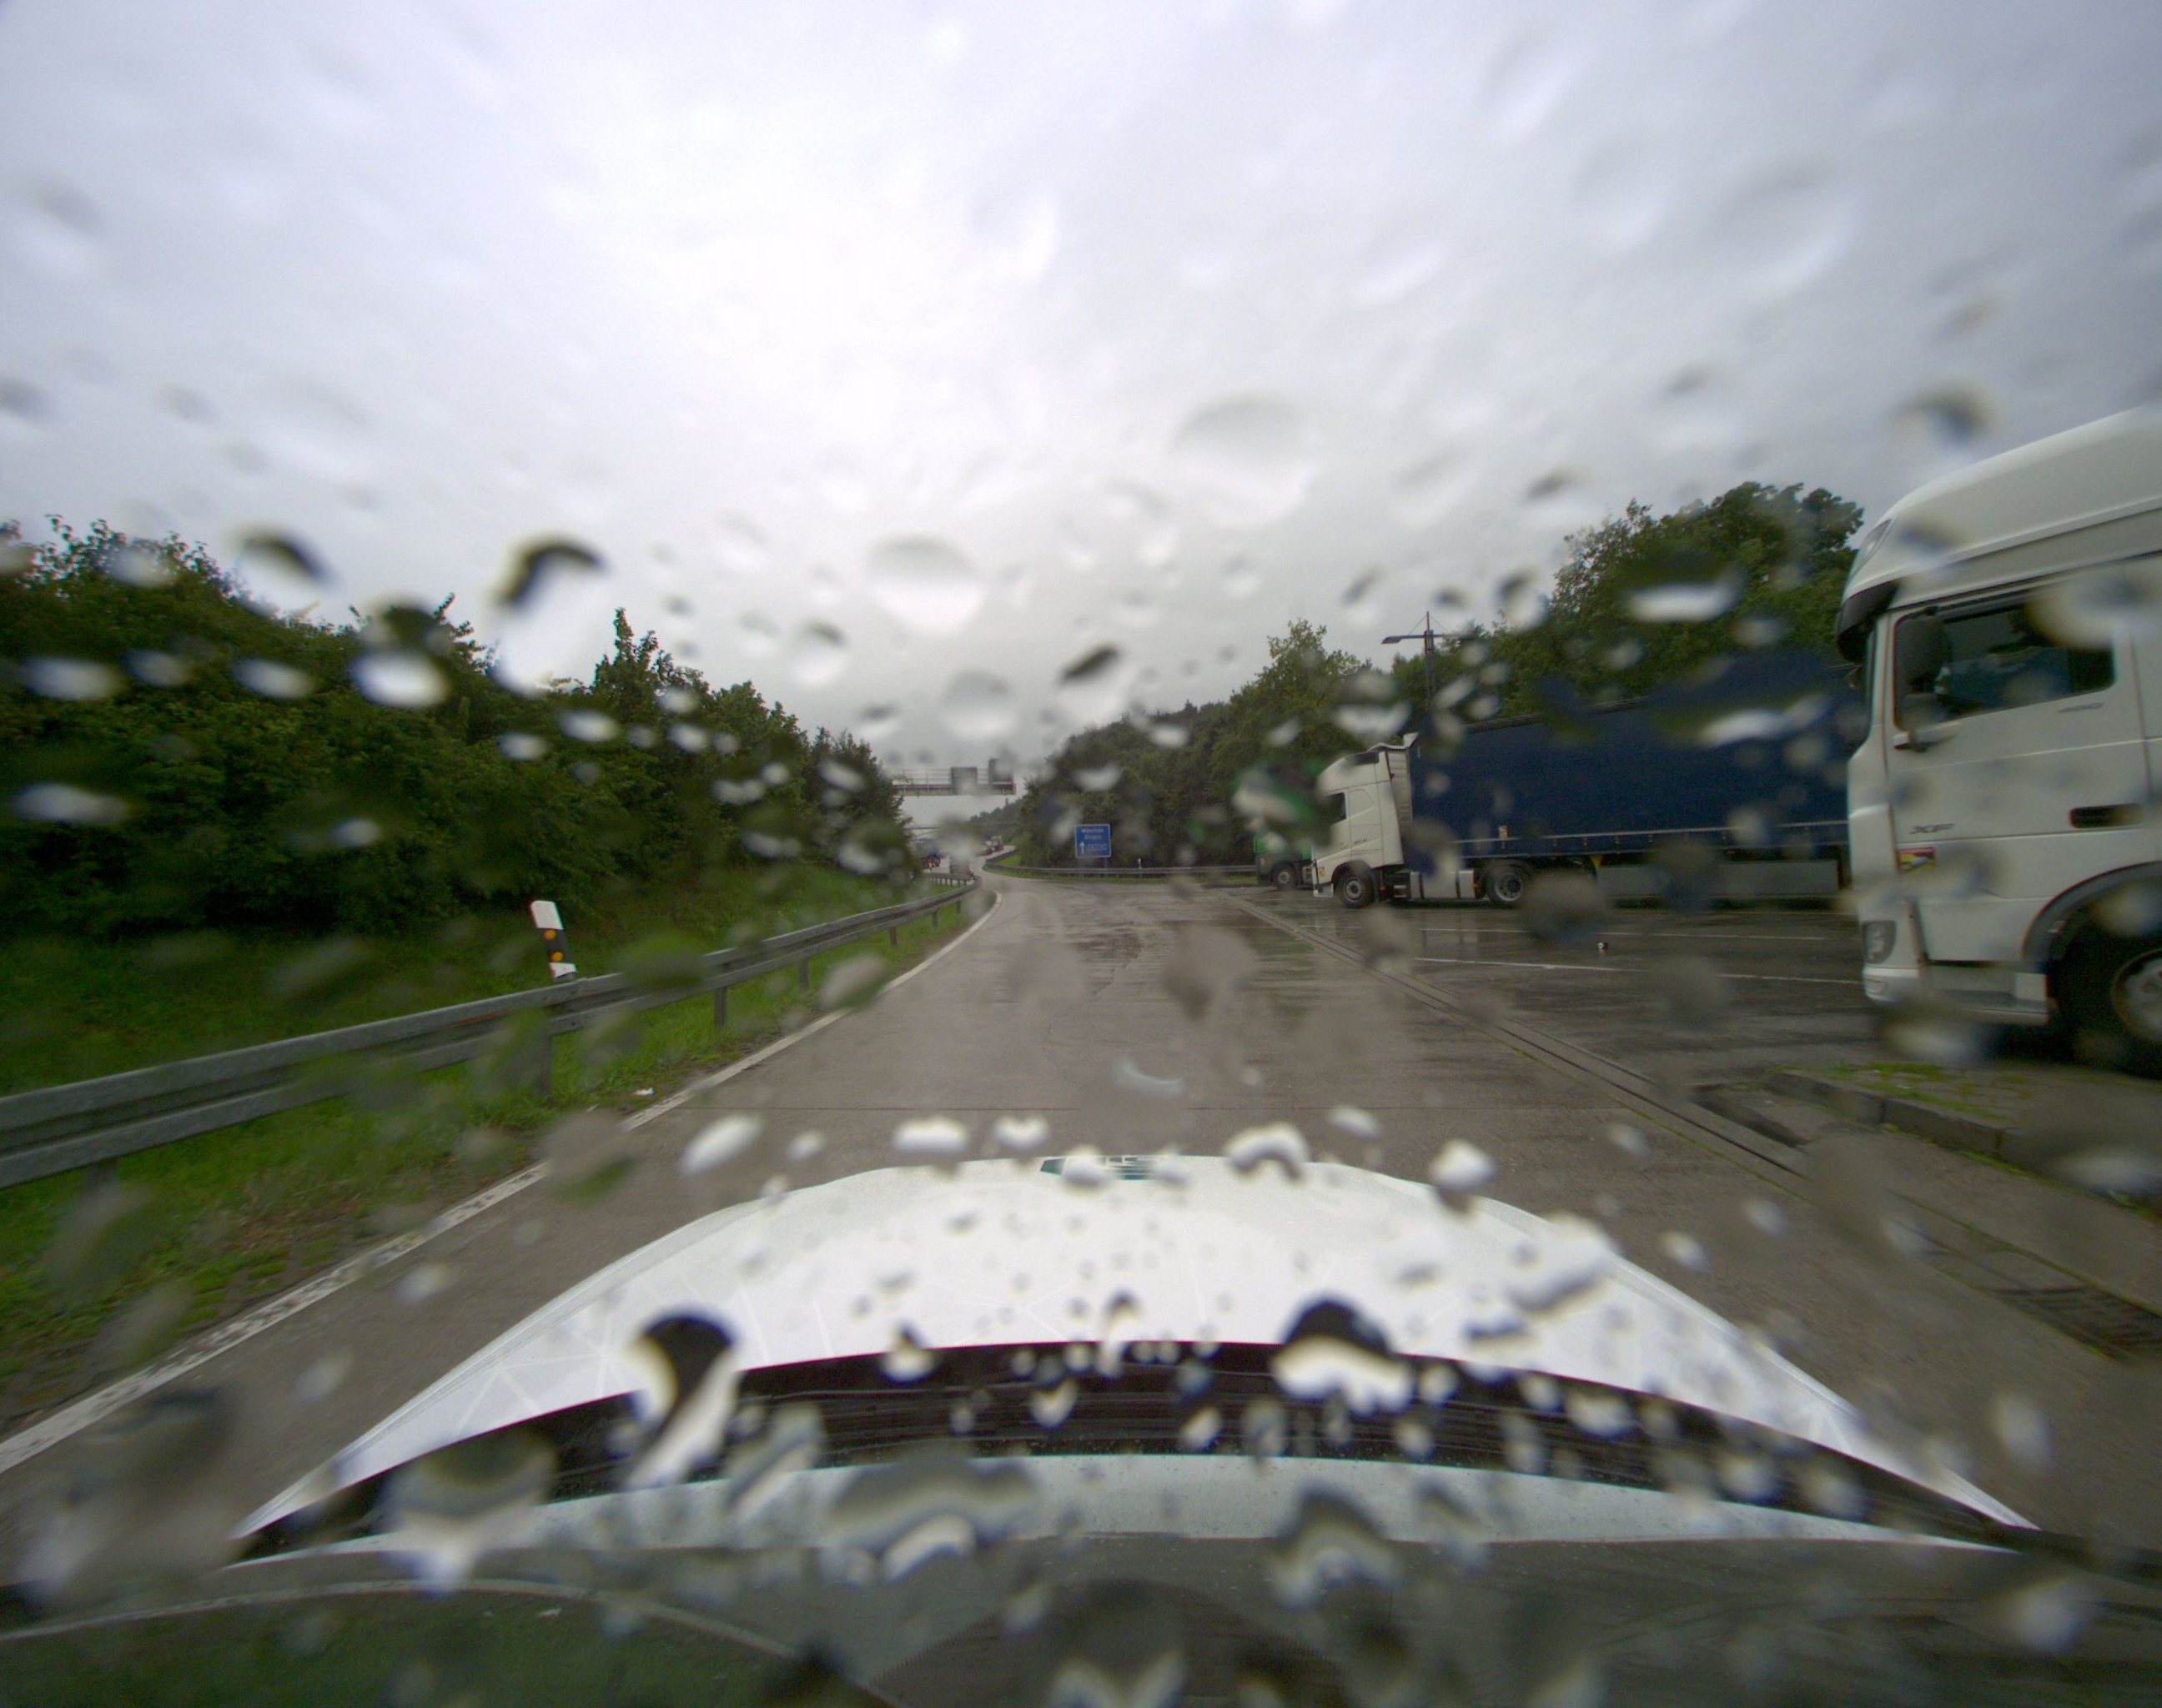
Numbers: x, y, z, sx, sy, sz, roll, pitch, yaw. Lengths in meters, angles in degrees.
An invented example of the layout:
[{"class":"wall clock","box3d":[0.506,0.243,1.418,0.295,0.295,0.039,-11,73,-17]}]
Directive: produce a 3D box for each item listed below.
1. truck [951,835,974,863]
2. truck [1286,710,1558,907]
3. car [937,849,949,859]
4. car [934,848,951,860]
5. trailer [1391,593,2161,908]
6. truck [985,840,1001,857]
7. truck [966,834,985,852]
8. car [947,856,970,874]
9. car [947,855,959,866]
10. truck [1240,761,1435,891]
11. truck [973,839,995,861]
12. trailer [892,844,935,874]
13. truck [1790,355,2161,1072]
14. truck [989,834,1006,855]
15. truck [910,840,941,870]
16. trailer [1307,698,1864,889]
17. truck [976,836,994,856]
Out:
[{"class":"truck","box3d":[-24.461,-0.942,168.596,3.745,5.499,10.164,0,-1,-2]},{"class":"truck","box3d":[8.203,-0.888,19.995,2.842,4.145,5.239,-3,-1,-41]},{"class":"car","box3d":[-27.086,0.009,159.842,1.793,1.903,3.997,-3,0,-2]},{"class":"car","box3d":[-34.151,0.050,201.116,3.238,3.002,6.767,0,-1,-2]},{"class":"trailer","box3d":[12.917,-1.247,14.602,2.842,4.171,13.826,-3,-1,-41]},{"class":"truck","box3d":[-22.407,-1.359,207.143,3.748,3.970,11.041,0,-1,-4]},{"class":"truck","box3d":[-26.525,-2.731,204.770,3.567,4.095,10.870,-3,0,-2]},{"class":"car","box3d":[-11.382,1.030,75.289,1.994,1.636,3.985,0,-1,-11]},{"class":"car","box3d":[-23.496,1.236,149.915,1.794,1.904,3.995,0,-1,-3]},{"class":"truck","box3d":[9.166,-0.873,29.569,2.843,4.149,5.924,-3,-1,-43]},{"class":"truck","box3d":[-19.853,-0.853,166.653,3.593,4.104,11.545,-4,1,-4]},{"class":"trailer","box3d":[-20.502,0.499,100.303,2.864,3.288,10.080,-3,1,1]},{"class":"truck","box3d":[7.773,-0.854,4.522,2.847,3.912,5.345,-3,0,-42]},{"class":"truck","box3d":[-23.222,-2.566,226.034,4.328,5.764,9.715,0,-1,-4]},{"class":"truck","box3d":[-20.427,0.126,107.228,2.867,3.693,5.057,-3,1,1]},{"class":"trailer","box3d":[13.781,-1.204,24.511,2.843,4.149,13.797,-3,-1,-43]},{"class":"truck","box3d":[-21.475,-1.673,182.648,3.500,4.268,10.587,0,-1,-4]}]
